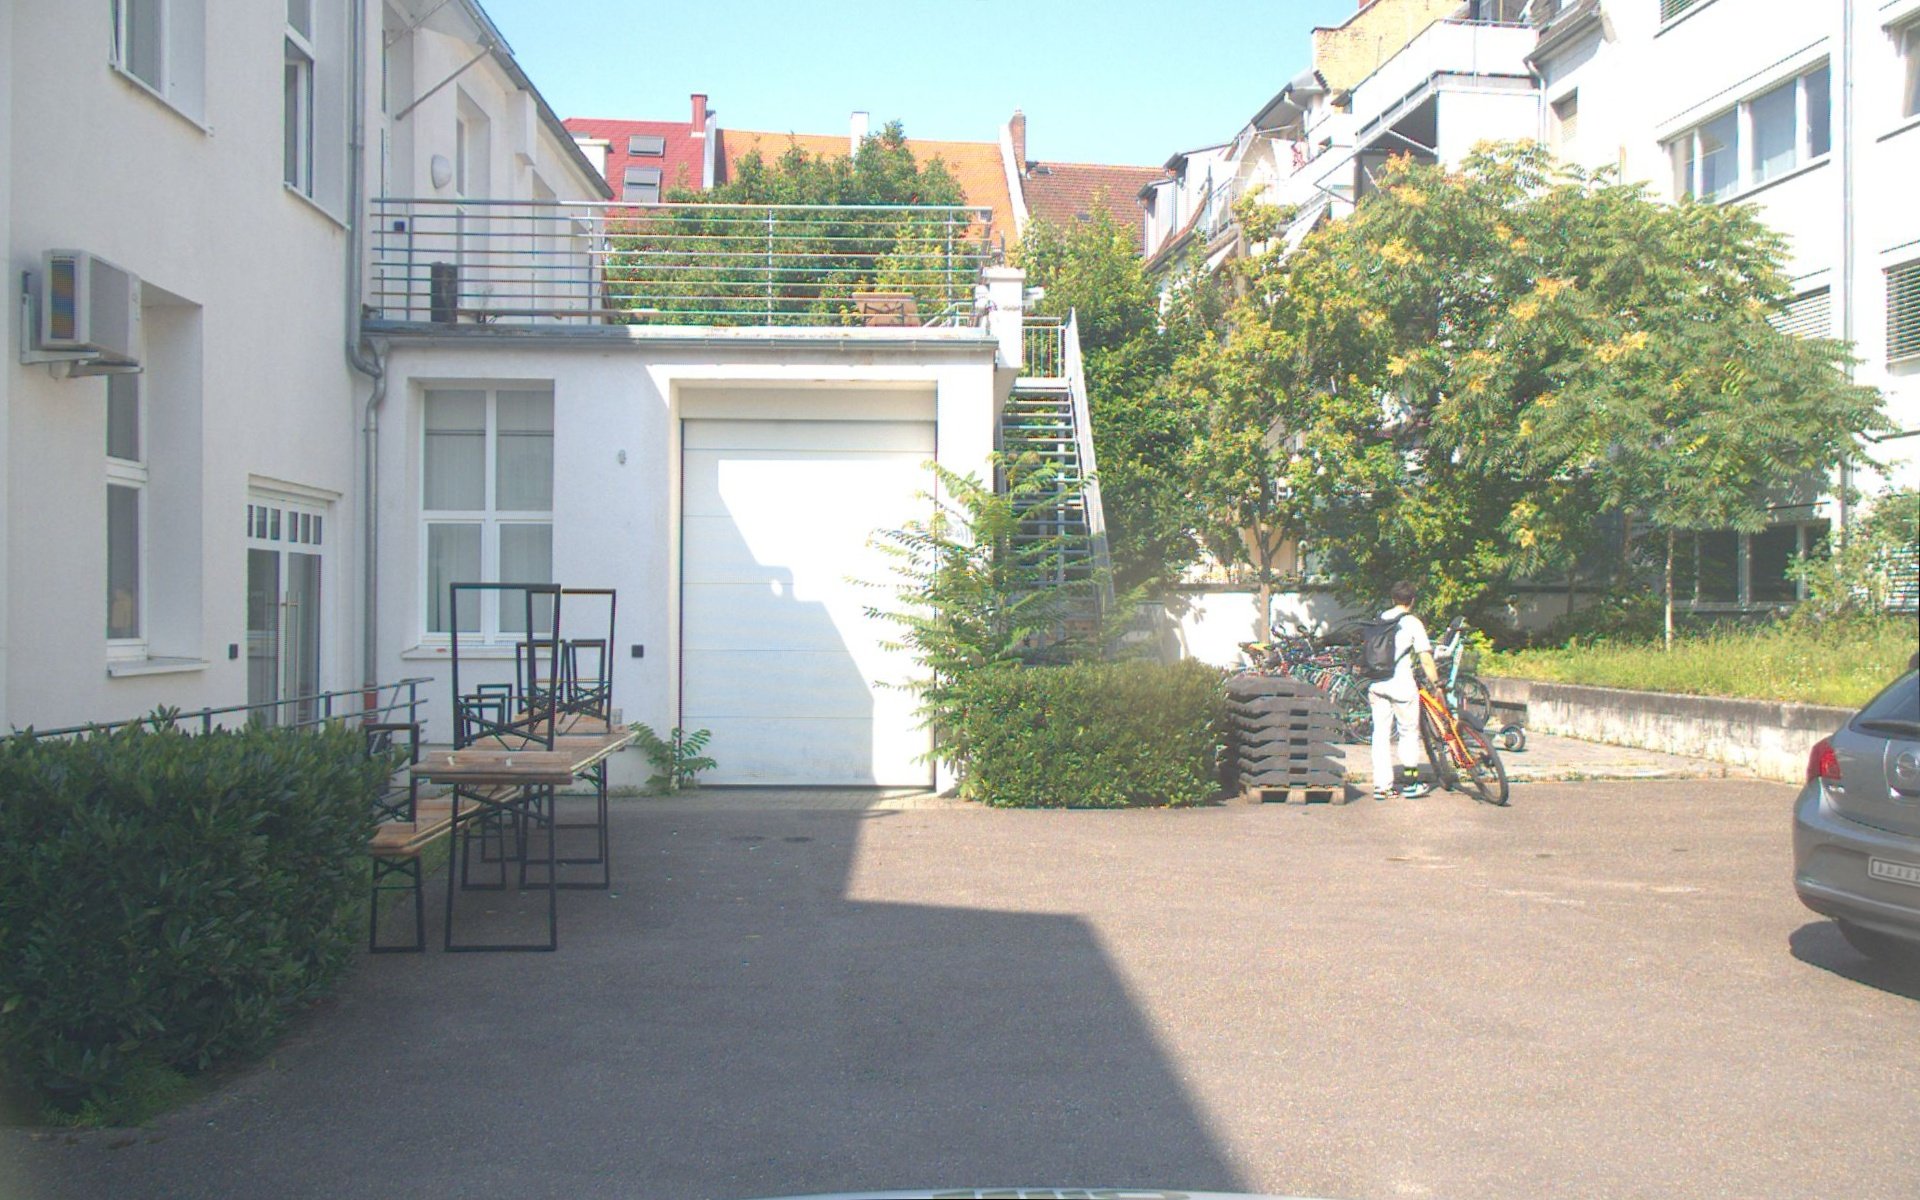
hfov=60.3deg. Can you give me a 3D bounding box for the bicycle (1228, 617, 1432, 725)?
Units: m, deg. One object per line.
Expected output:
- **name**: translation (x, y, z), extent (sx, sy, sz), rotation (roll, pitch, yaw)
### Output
- **bicycle**: translation (4.509, 0.861, 20.193), extent (2.362, 1.268, 0.526), rotation (1, -1, -2)

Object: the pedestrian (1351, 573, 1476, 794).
- **pedestrian**: translation (3.797, 0.687, 13.890), extent (0.841, 1.803, 0.610), rotation (1, -1, -4)

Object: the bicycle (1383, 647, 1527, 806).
- **bicycle**: translation (4.123, 1.017, 13.916), extent (0.478, 1.163, 1.992), rotation (-1, 0, -4)

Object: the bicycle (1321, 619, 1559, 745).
- **bicycle**: translation (5.043, 0.859, 17.430), extent (2.362, 1.268, 0.526), rotation (1, -1, -2)

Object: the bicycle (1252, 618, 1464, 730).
- **bicycle**: translation (4.671, 0.862, 19.484), extent (2.362, 1.268, 0.526), rotation (1, -1, -2)

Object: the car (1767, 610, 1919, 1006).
- **car**: translation (5.486, 0.786, 6.749), extent (3.832, 1.491, 1.656), rotation (0, 0, -16)

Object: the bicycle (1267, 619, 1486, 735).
- **bicycle**: translation (4.740, 0.870, 18.870), extent (2.362, 1.268, 0.526), rotation (1, -1, -2)

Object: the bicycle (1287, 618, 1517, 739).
- **bicycle**: translation (4.816, 0.848, 18.076), extent (2.362, 1.268, 0.526), rotation (1, -1, -2)

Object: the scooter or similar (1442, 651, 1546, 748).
- **scooter or similar**: translation (5.516, 1.015, 17.124), extent (0.357, 0.940, 0.985), rotation (1, -1, -39)
